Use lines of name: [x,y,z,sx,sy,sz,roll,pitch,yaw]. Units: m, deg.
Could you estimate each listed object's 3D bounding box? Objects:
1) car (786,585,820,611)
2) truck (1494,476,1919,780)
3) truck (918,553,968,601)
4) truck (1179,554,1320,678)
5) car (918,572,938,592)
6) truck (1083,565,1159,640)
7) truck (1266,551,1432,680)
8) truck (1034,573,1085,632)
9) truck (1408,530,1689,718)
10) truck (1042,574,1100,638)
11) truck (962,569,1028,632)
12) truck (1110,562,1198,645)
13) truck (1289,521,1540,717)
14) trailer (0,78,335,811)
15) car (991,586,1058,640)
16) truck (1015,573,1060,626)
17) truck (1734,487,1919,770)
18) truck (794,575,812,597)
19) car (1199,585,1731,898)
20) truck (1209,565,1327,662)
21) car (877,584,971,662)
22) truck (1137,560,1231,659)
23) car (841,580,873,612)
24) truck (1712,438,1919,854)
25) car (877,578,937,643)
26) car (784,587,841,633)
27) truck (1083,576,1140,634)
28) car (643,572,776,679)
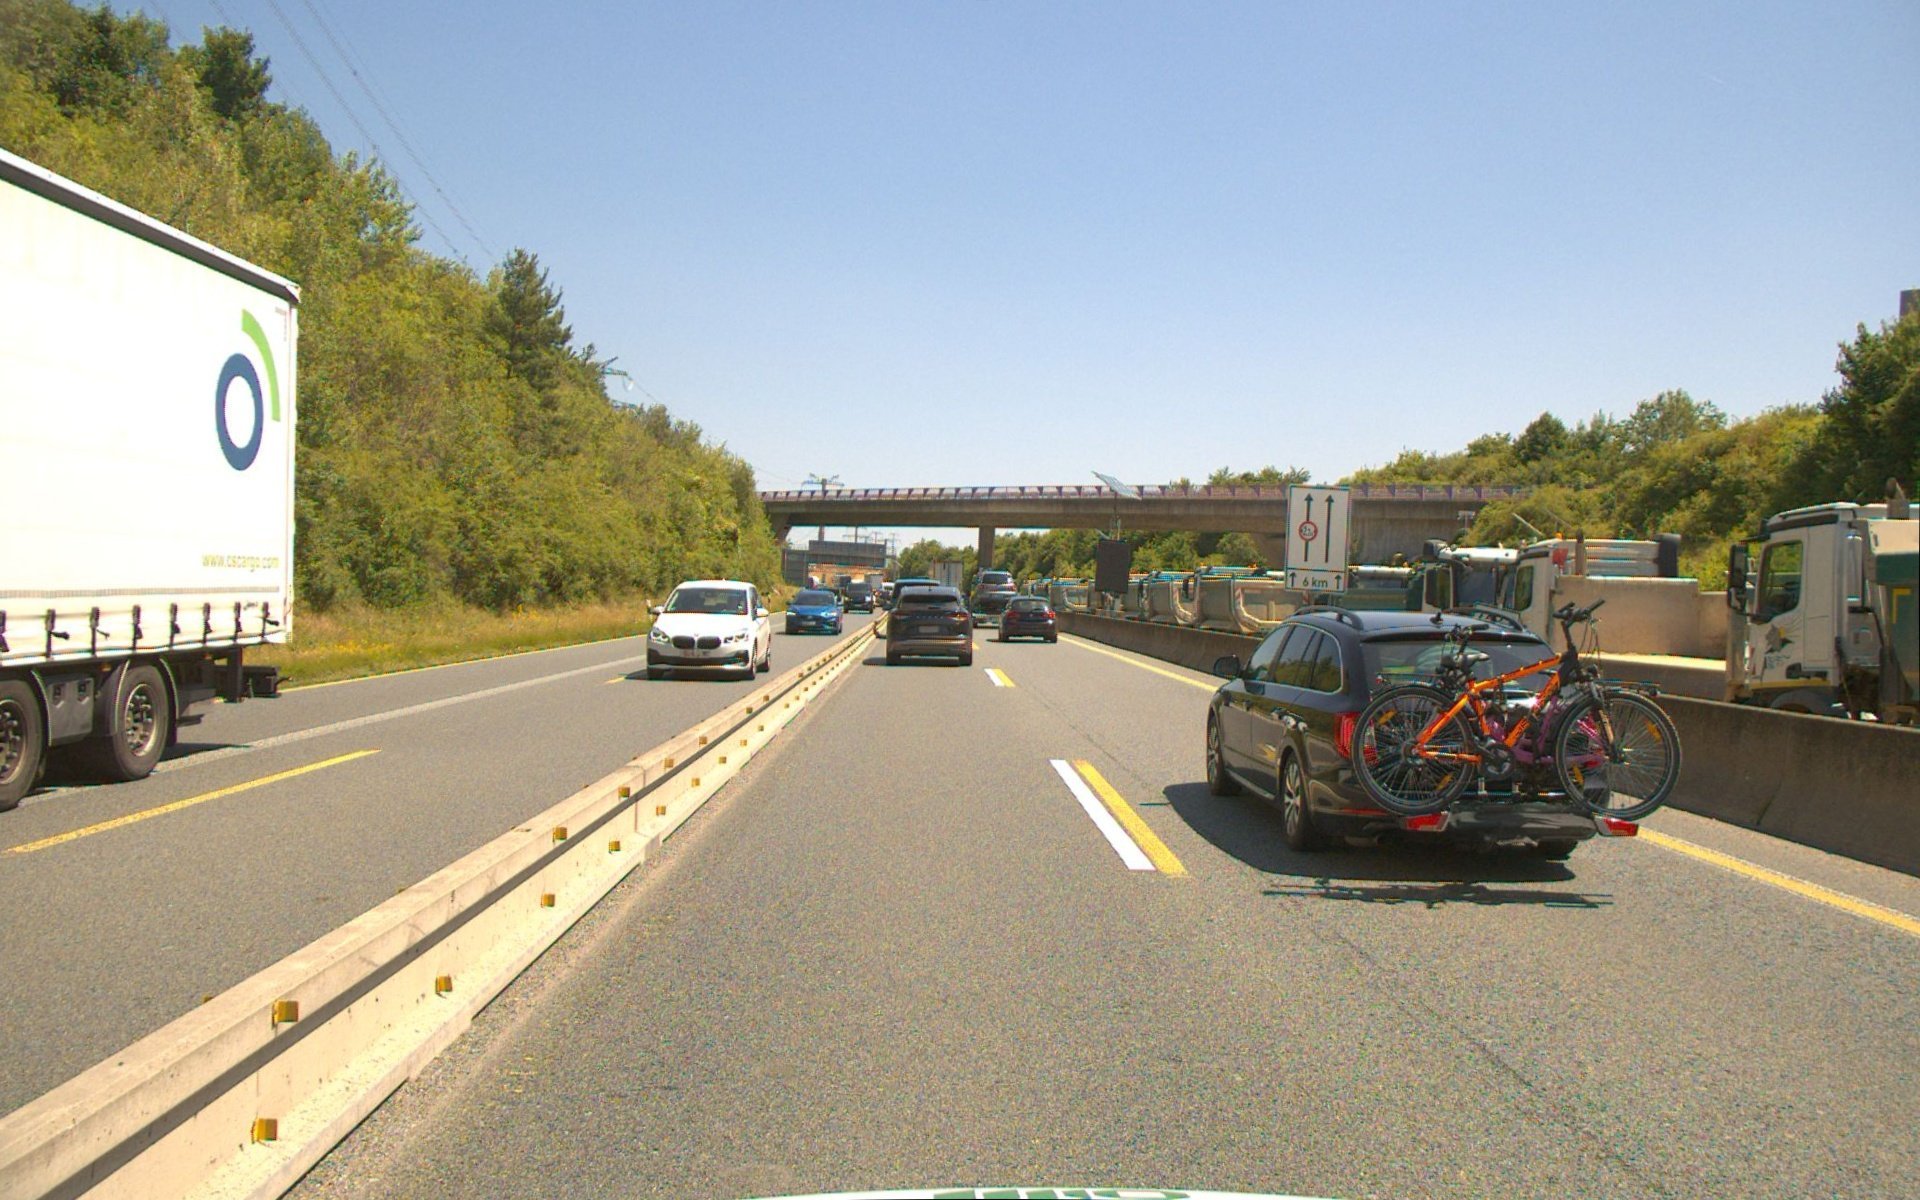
car: [-9.949,-0.131,105.164,1.757,1.552,4.530,2,0,-1]
truck: [10.571,0.314,24.199,2.481,3.572,8.943,1,0,-1]
truck: [-1.508,-1.915,142.605,3.229,3.912,10.096,1,0,-6]
truck: [9.230,0.440,53.860,2.633,3.619,9.600,1,0,-1]
car: [-3.479,-1.929,177.702,1.862,2.003,4.272,1,0,-5]
truck: [8.327,0.097,86.502,2.633,3.619,9.321,1,0,-2]
truck: [11.997,0.409,52.036,2.633,3.619,9.599,1,0,-2]
truck: [6.934,0.114,116.737,2.633,3.923,9.321,1,0,-2]
truck: [12.860,0.445,37.261,2.633,3.619,9.600,1,0,-1]
truck: [6.962,0.317,105.107,2.633,3.826,9.321,1,0,-2]
truck: [1.458,-0.018,72.950,2.357,2.603,7.496,1,1,-3]
truck: [8.983,0.109,77.691,2.633,3.619,9.321,1,0,-2]
truck: [9.478,0.332,35.828,2.487,3.619,9.599,1,0,-2]
trailer: [-7.104,-0.960,11.245,2.584,4.388,8.445,2,0,-2]
car: [2.016,0.390,52.792,1.860,1.613,4.275,1,0,-1]
truck: [6.016,-0.082,129.308,2.633,3.910,9.321,1,0,-2]
truck: [13.408,0.381,21.376,2.633,3.572,8.377,1,0,-2]
truck: [-24.130,-2.200,253.638,2.460,3.242,10.096,1,0,-6]
car: [2.879,0.712,10.726,1.860,1.516,4.946,1,0,-1]
truck: [11.785,0.465,64.265,2.632,3.437,9.601,1,0,-1]
car: [-0.751,0.457,35.369,1.860,1.531,4.275,1,0,-1]
truck: [8.819,0.340,66.177,2.632,3.619,9.408,1,0,1]
car: [-6.780,-0.266,109.315,1.852,2.049,4.817,1,0,-1]
truck: [9.507,0.421,13.329,2.482,3.572,9.094,1,0,-2]
car: [-1.705,0.334,54.332,1.860,2.003,4.275,1,0,-1]
car: [-5.001,0.324,56.357,1.678,1.450,4.168,1,0,-2]
truck: [10.351,0.287,113.847,2.633,3.792,9.321,1,0,-2]
car: [-4.241,0.409,28.579,1.727,1.660,4.295,1,0,-2]
